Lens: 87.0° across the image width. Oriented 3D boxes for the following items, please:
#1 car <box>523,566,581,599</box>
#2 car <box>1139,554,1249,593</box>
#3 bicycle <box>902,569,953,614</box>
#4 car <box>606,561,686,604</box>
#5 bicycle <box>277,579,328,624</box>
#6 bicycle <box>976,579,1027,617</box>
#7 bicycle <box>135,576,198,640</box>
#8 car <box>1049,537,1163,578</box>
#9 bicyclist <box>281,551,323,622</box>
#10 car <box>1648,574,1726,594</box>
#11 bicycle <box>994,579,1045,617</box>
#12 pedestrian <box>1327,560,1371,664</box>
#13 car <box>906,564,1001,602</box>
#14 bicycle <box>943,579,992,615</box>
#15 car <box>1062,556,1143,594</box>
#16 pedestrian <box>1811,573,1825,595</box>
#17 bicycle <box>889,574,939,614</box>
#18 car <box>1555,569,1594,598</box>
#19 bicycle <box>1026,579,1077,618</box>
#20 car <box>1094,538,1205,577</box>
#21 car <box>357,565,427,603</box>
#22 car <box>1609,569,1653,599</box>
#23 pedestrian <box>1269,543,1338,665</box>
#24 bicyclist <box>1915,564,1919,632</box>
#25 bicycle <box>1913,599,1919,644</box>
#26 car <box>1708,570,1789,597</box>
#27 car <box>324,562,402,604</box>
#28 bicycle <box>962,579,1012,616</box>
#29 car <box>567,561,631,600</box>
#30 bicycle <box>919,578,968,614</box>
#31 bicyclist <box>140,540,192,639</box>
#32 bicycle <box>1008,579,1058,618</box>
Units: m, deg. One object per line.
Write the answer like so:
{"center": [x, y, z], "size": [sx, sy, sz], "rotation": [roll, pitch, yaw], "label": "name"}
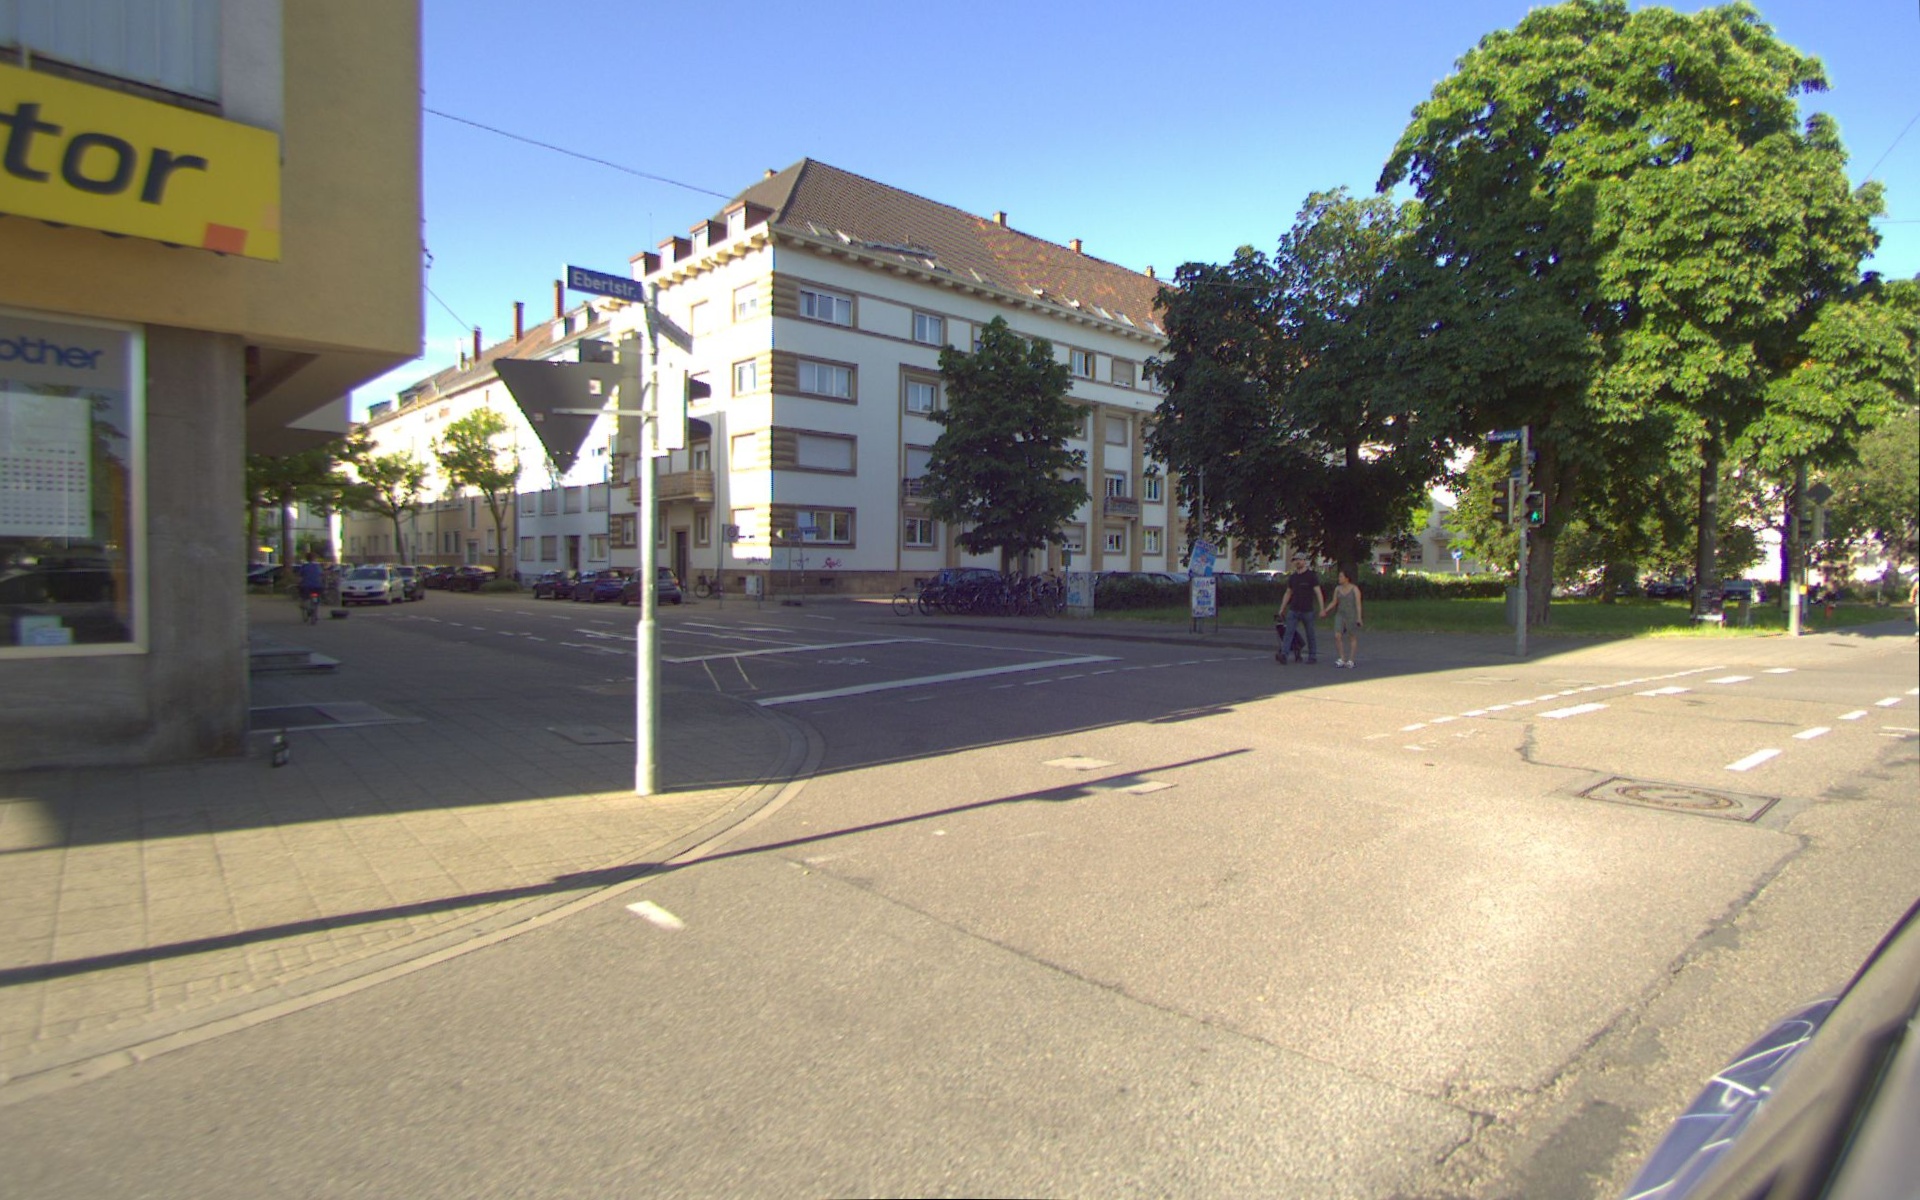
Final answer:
{"center": [-19.702, -0.897, 48.754], "size": [1.660, 1.511, 4.000], "rotation": [-1, 2, -36], "label": "car"}
{"center": [9.476, -1.098, 41.209], "size": [1.964, 1.466, 3.997], "rotation": [-1, 2, -39], "label": "car"}
{"center": [-1.056, -0.292, 33.055], "size": [1.798, 1.404, 0.432], "rotation": [-1, 2, -43], "label": "bicycle"}
{"center": [-13.056, -0.761, 41.954], "size": [1.963, 1.671, 3.999], "rotation": [-1, 2, -36], "label": "car"}
{"center": [-16.553, 0.009, 25.439], "size": [0.832, 1.063, 2.270], "rotation": [-1, 2, -39], "label": "bicycle"}
{"center": [1.279, -0.072, 30.850], "size": [1.798, 1.108, 0.365], "rotation": [-1, 2, -43], "label": "bicycle"}
{"center": [-14.095, 0.109, 17.961], "size": [0.632, 1.072, 2.081], "rotation": [-1, 1, -45], "label": "bicycle"}
{"center": [5.446, -1.593, 38.073], "size": [1.964, 1.466, 3.997], "rotation": [-1, 2, -39], "label": "car"}
{"center": [-16.499, -0.347, 25.371], "size": [0.803, 1.737, 0.755], "rotation": [1, 1, -40], "label": "bicyclist"}
{"center": [40.244, -0.899, 56.009], "size": [4.193, 1.079, 2.002], "rotation": [-1, 2, -31], "label": "car"}
{"center": [1.795, -0.066, 30.348], "size": [1.798, 1.108, 0.365], "rotation": [-1, 2, -43], "label": "bicycle"}
{"center": [6.055, 0.173, 15.763], "size": [0.501, 1.565, 0.513], "rotation": [3, 4, 32], "label": "pedestrian"}
{"center": [-0.240, -0.763, 44.049], "size": [3.932, 1.588, 1.844], "rotation": [-2, 2, -42], "label": "car"}
{"center": [0.244, -0.104, 31.857], "size": [1.798, 1.108, 0.365], "rotation": [-1, 2, -43], "label": "bicycle"}
{"center": [7.185, -1.268, 50.848], "size": [3.932, 1.867, 1.996], "rotation": [-1, 2, -42], "label": "car"}
{"center": [43.866, -0.820, 51.756], "size": [0.602, 1.092, 0.459], "rotation": [-1, 2, -41], "label": "pedestrian"}
{"center": [-1.513, -0.218, 33.506], "size": [1.798, 1.301, 0.432], "rotation": [-1, 2, -43], "label": "bicycle"}
{"center": [38.216, -1.043, 62.862], "size": [1.985, 1.719, 4.228], "rotation": [1, 2, 33], "label": "car"}
{"center": [2.701, -0.057, 29.627], "size": [1.798, 1.108, 0.365], "rotation": [-1, 2, -43], "label": "bicycle"}
{"center": [7.385, -1.657, 39.777], "size": [1.964, 1.466, 3.997], "rotation": [-1, 2, -39], "label": "car"}
{"center": [-24.433, -0.727, 43.669], "size": [1.958, 1.537, 4.232], "rotation": [0, 2, -20], "label": "car"}
{"center": [39.529, -0.975, 59.613], "size": [1.988, 1.719, 4.223], "rotation": [1, 2, 36], "label": "car"}
{"center": [5.472, 0.027, 16.105], "size": [0.784, 1.849, 1.022], "rotation": [3, 4, 32], "label": "pedestrian"}
{"center": [21.544, -0.049, 22.257], "size": [0.920, 1.493, 0.677], "rotation": [-1, 2, -41], "label": "bicyclist"}
{"center": [21.556, 0.465, 22.274], "size": [1.706, 0.942, 0.683], "rotation": [-1, 2, -42], "label": "bicycle"}
{"center": [41.723, -0.907, 53.525], "size": [4.193, 1.340, 2.002], "rotation": [-1, 2, -31], "label": "car"}
{"center": [-23.122, -0.695, 39.330], "size": [1.879, 1.526, 4.179], "rotation": [0, 2, -20], "label": "car"}
{"center": [0.845, -0.079, 31.249], "size": [1.798, 1.108, 0.365], "rotation": [-1, 2, -43], "label": "bicycle"}
{"center": [-16.298, -0.904, 45.600], "size": [1.660, 1.671, 4.000], "rotation": [-1, 2, -36], "label": "car"}
{"center": [-0.526, -0.134, 32.527], "size": [1.798, 1.108, 0.365], "rotation": [-1, 2, -43], "label": "bicycle"}
{"center": [-14.035, -0.195, 17.892], "size": [0.629, 1.700, 0.683], "rotation": [-1, 2, -45], "label": "bicyclist"}
{"center": [2.184, -0.061, 30.047], "size": [1.798, 1.108, 0.365], "rotation": [-1, 2, -43], "label": "bicycle"}
